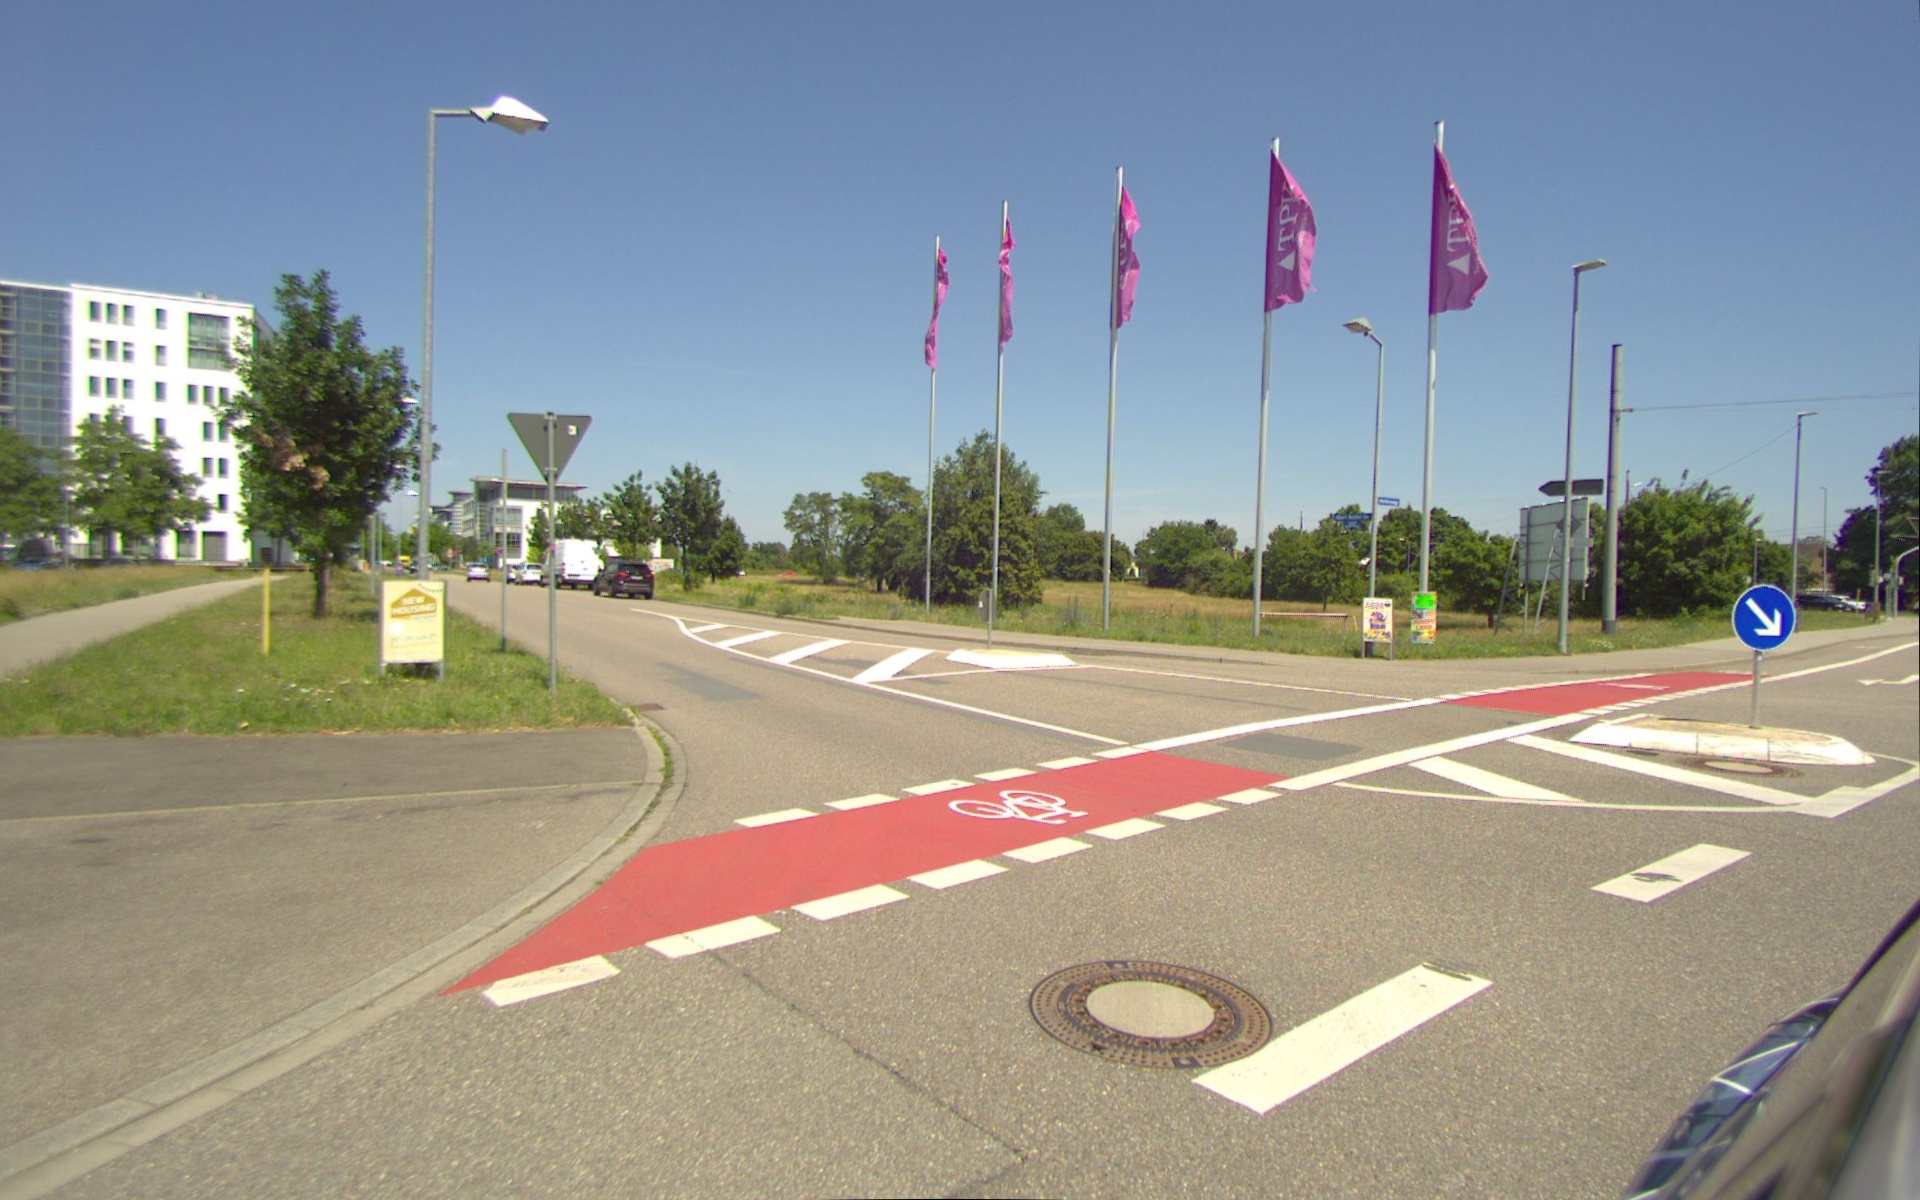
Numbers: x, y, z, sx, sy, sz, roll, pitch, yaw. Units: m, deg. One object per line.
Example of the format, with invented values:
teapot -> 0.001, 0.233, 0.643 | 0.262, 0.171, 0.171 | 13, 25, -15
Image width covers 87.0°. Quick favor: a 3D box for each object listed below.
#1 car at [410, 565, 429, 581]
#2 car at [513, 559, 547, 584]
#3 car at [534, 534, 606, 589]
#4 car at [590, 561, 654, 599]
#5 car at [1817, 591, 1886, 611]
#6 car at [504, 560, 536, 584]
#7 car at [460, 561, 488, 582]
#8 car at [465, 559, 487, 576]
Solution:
car -> -61.807, -3.078, 115.715 | 1.671, 1.552, 3.631 | 4, -2, -29
car -> -28.509, -1.873, 66.980 | 1.671, 1.552, 3.631 | 1, 0, -29
car -> -21.426, -2.042, 55.368 | 2.615, 2.837, 6.860 | 0, 1, -31
car -> -14.690, -0.836, 43.851 | 1.673, 1.552, 3.627 | 1, 0, -35
car -> 80.114, 0.073, 91.039 | 1.836, 1.596, 4.420 | 2, 1, -10
car -> -31.120, -1.939, 71.484 | 1.671, 1.552, 3.631 | 1, 0, -29
car -> -38.794, -2.265, 80.773 | 1.672, 1.552, 3.630 | 1, 0, -31
car -> -48.032, -3.160, 100.376 | 1.671, 1.552, 3.631 | 1, 0, -29
